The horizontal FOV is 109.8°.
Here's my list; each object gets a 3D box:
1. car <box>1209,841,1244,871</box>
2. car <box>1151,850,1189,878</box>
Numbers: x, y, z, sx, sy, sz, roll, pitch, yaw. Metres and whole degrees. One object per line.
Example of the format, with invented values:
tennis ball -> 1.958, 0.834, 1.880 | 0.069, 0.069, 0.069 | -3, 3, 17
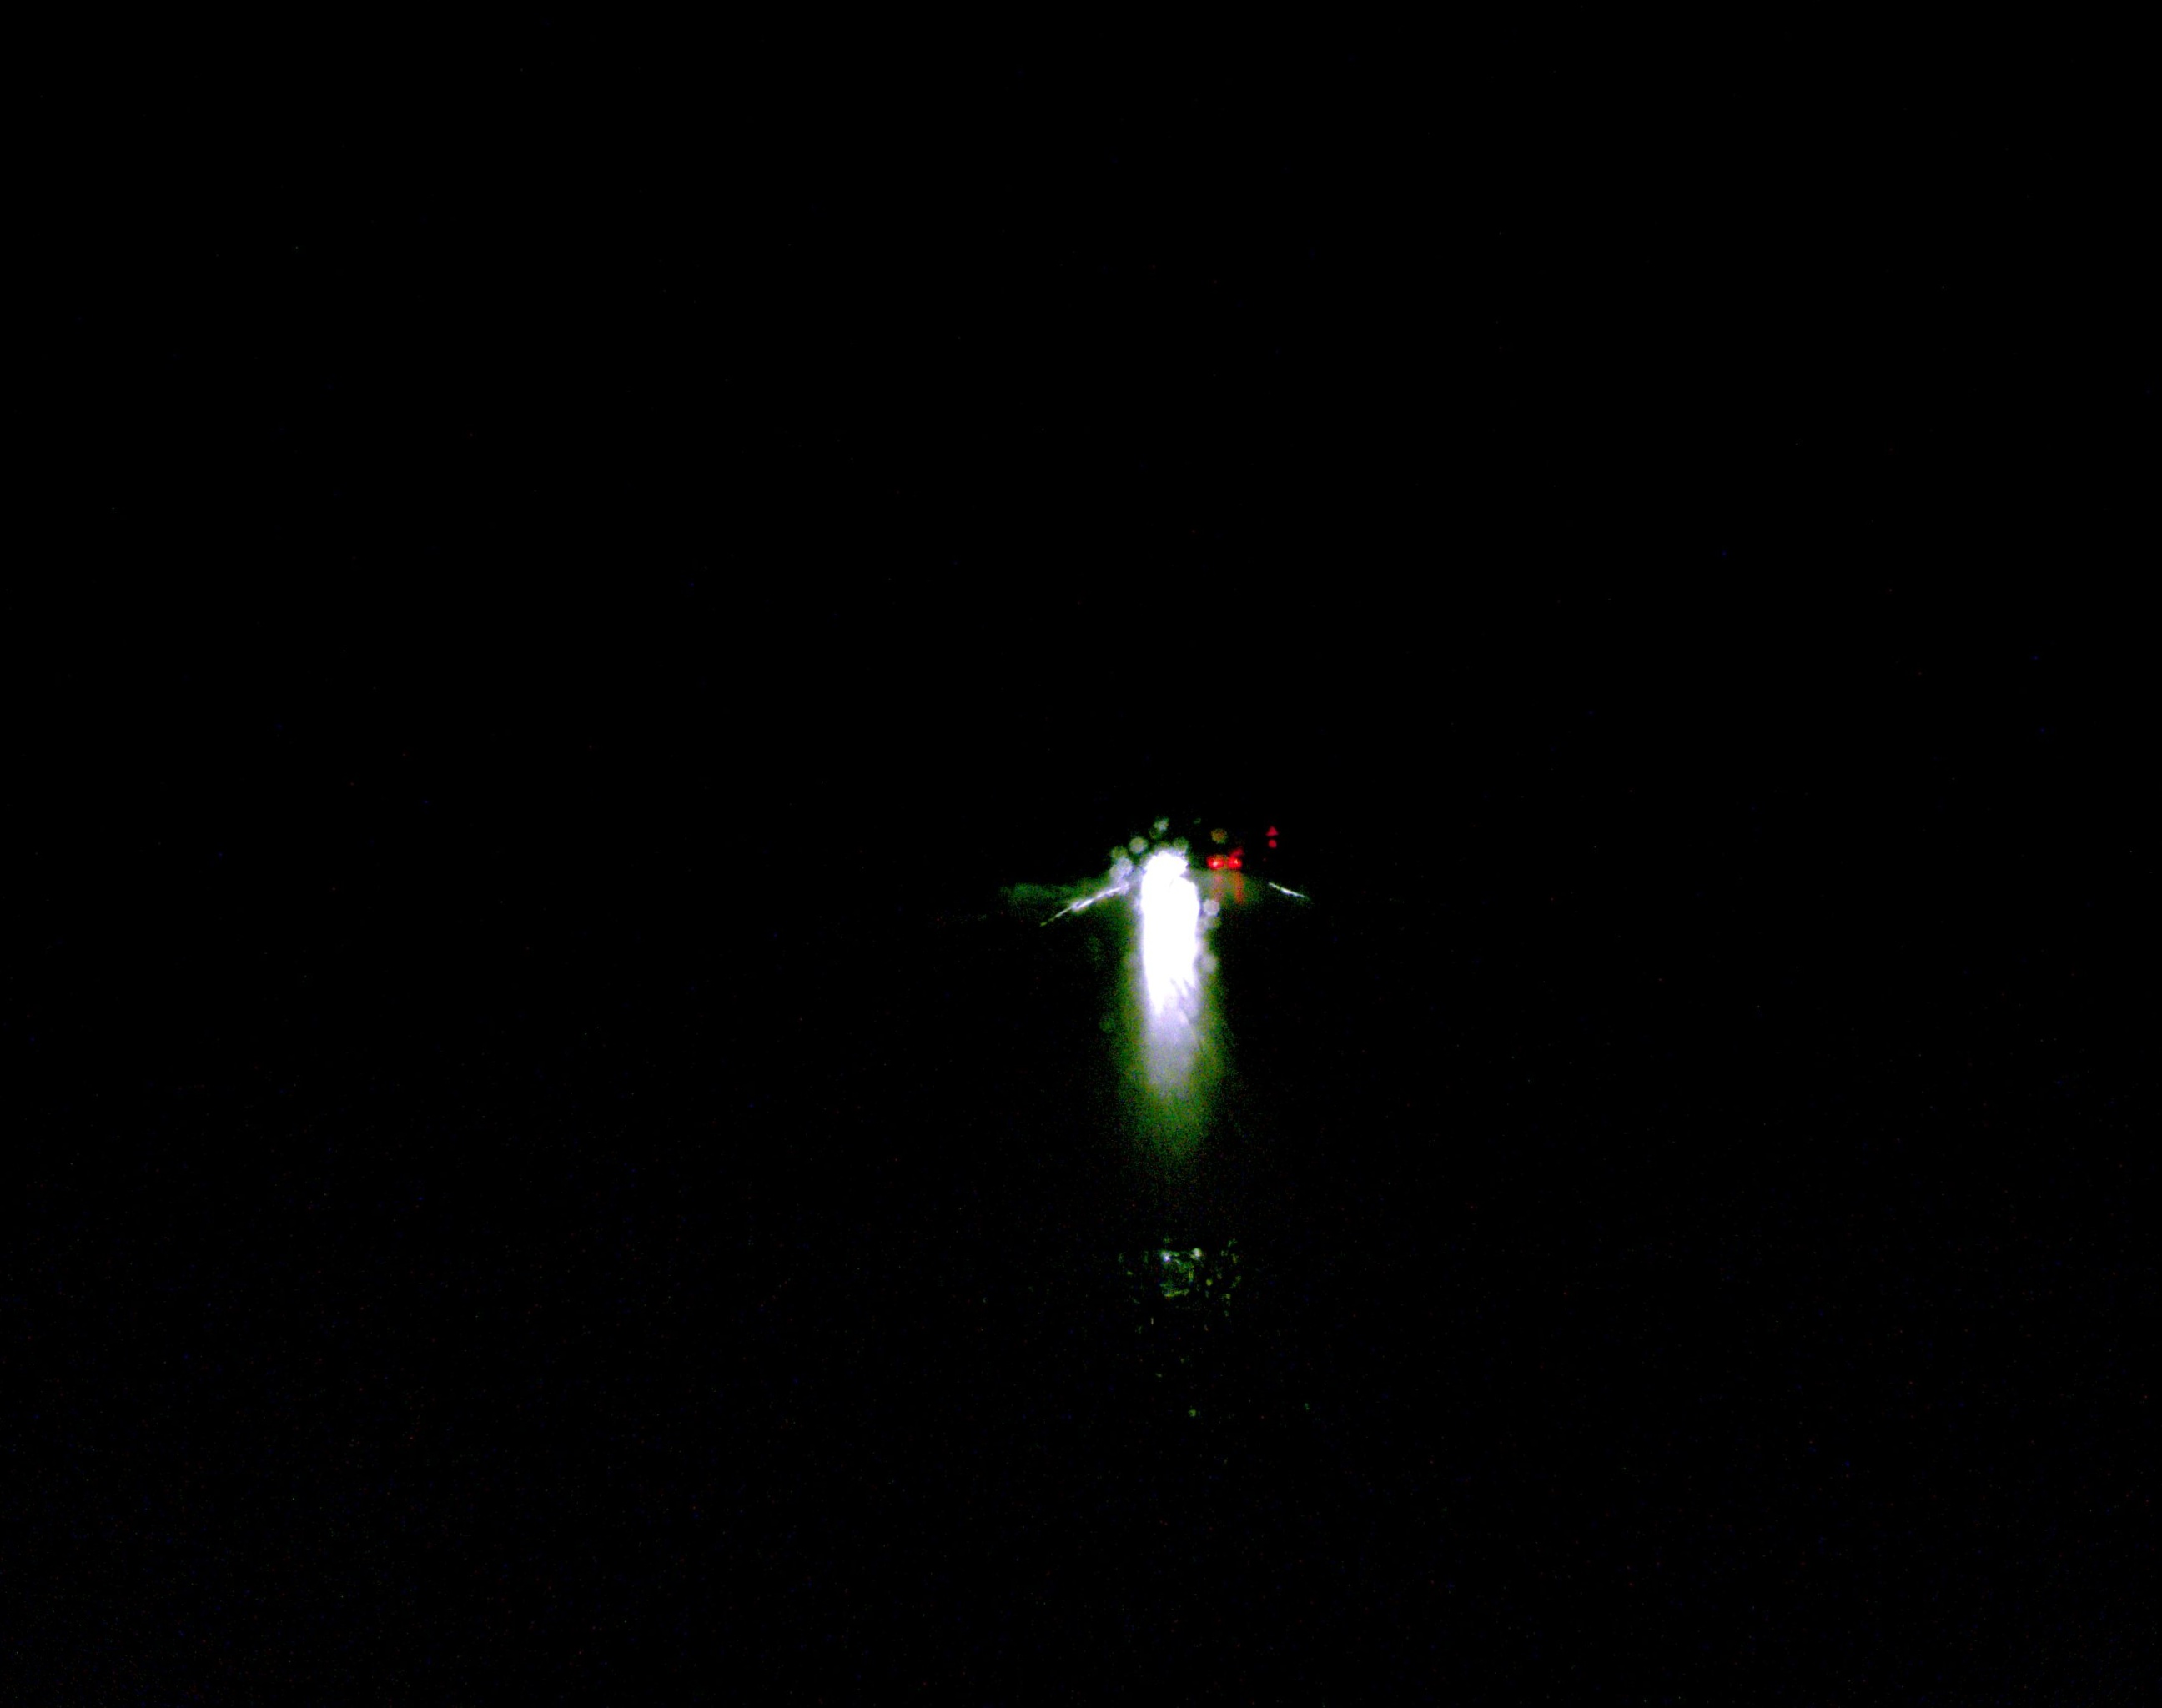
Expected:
car -> 9.857, 0.100, 51.681 | 1.980, 1.768, 4.002 | -4, 1, 8
car -> 5.353, 0.548, 45.258 | 1.997, 1.412, 4.002 | -4, 1, 10
